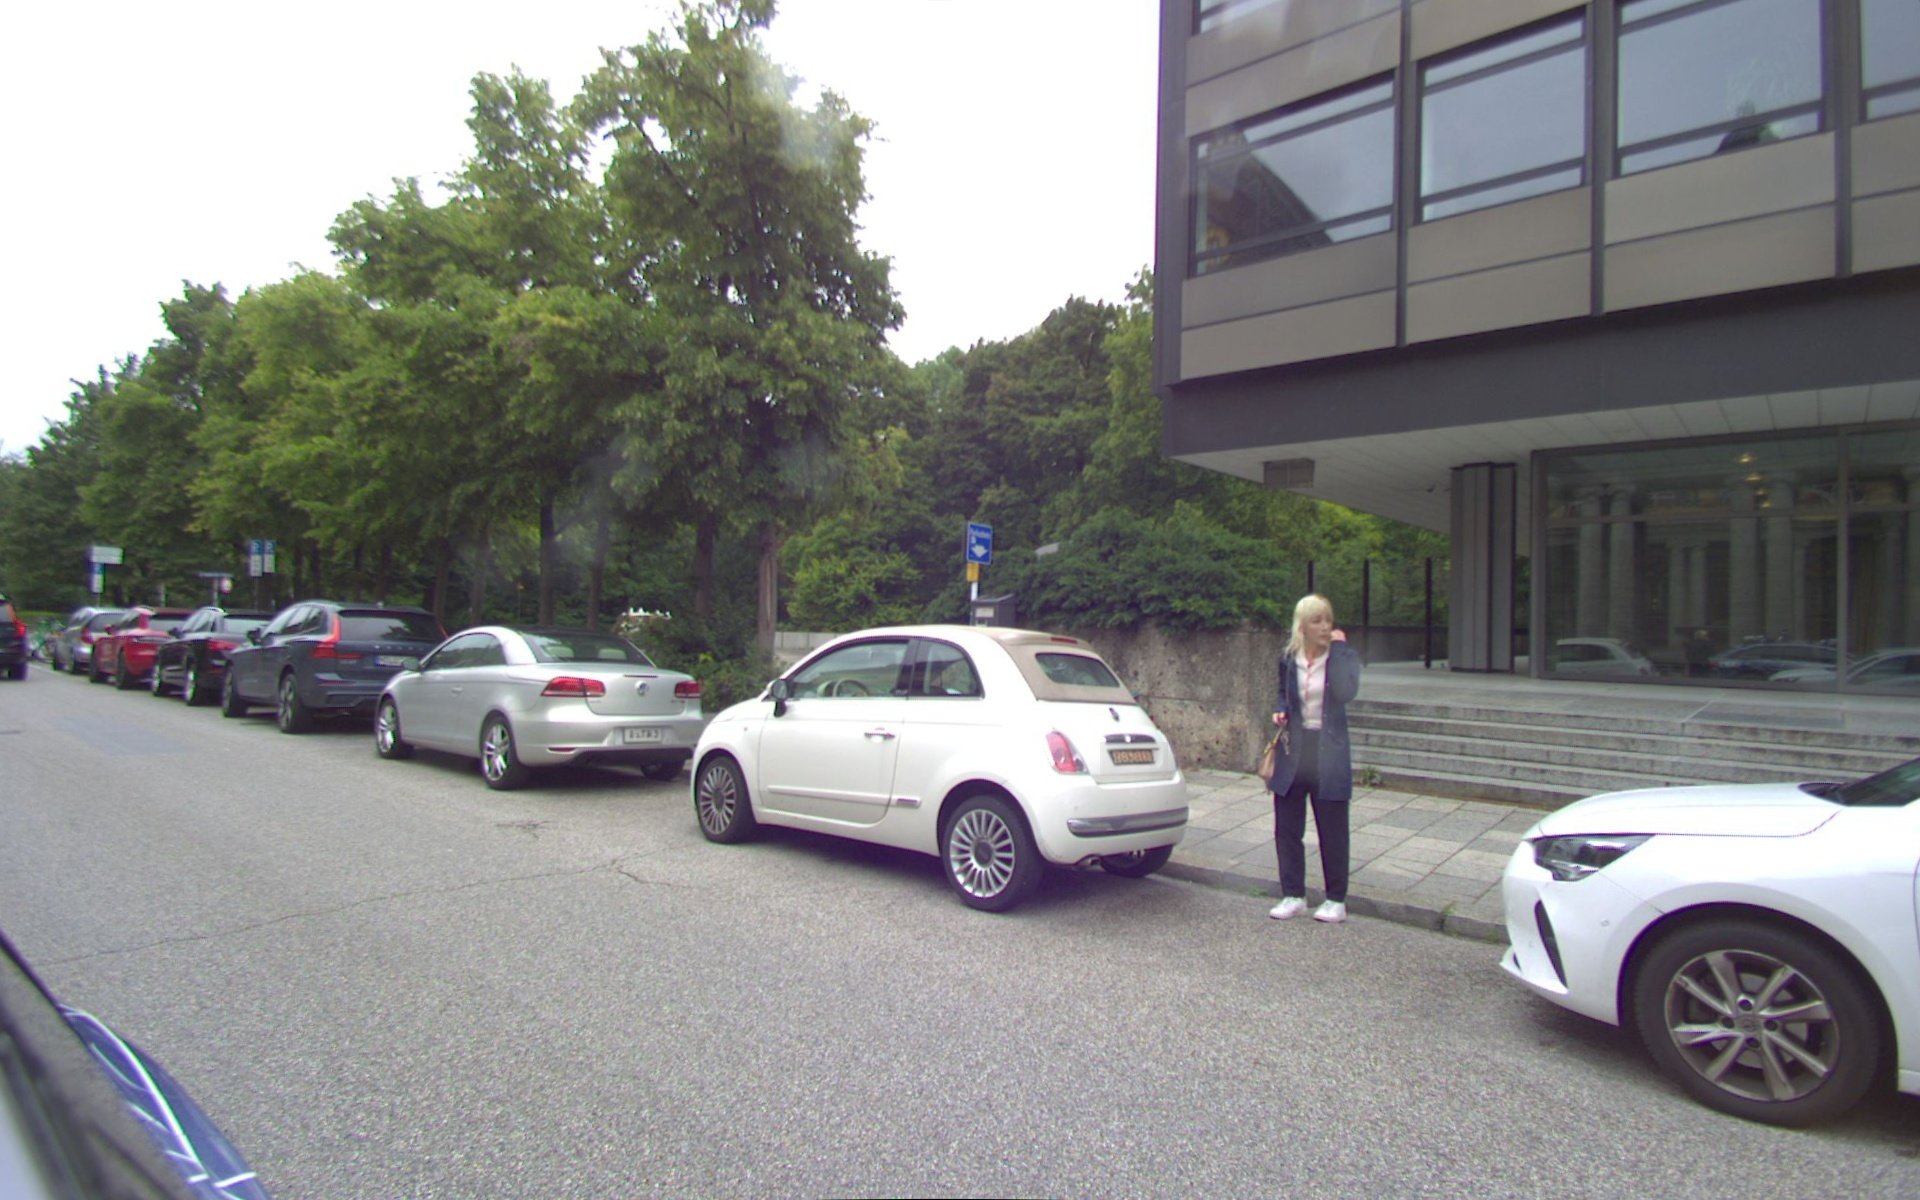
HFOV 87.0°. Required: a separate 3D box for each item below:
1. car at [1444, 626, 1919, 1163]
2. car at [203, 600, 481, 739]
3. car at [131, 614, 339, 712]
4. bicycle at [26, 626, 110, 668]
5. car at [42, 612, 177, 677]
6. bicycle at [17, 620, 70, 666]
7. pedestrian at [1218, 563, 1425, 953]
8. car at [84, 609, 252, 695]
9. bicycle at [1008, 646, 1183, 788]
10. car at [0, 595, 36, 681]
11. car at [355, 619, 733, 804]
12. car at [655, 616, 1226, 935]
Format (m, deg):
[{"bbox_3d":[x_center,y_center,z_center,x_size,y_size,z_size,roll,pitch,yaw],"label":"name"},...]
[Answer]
[{"bbox_3d":[3.872,0.869,2.802,4.278,1.451,1.663,0,-5,42],"label":"car"},{"bbox_3d":[-8.572,0.853,13.875,4.520,1.595,1.973,-1,-3,41],"label":"car"},{"bbox_3d":[-12.629,1.010,17.513,4.646,1.472,1.972,-1,-3,42],"label":"car"},{"bbox_3d":[-25.185,1.310,28.599,0.597,1.116,1.681,0,-1,33],"label":"bicycle"},{"bbox_3d":[-21.161,1.067,25.119,4.363,1.472,1.972,-1,-3,42],"label":"car"},{"bbox_3d":[-26.557,1.233,29.348,0.566,1.292,1.423,0,-1,-16],"label":"bicycle"},{"bbox_3d":[1.863,0.747,5.176,0.690,1.765,0.880,-2,-5,44],"label":"pedestrian"},{"bbox_3d":[-16.194,1.009,20.615,4.363,1.555,1.972,-1,-3,42],"label":"car"},{"bbox_3d":[1.257,1.046,9.536,1.526,1.173,0.636,-1,0,40],"label":"bicycle"},{"bbox_3d":[-21.069,0.728,21.070,4.907,1.694,1.941,0,-4,39],"label":"car"},{"bbox_3d":[-4.215,0.961,9.914,4.217,1.411,1.739,-1,-5,43],"label":"car"},{"bbox_3d":[-0.283,0.882,6.509,3.551,1.482,1.527,-1,-4,41],"label":"car"}]
